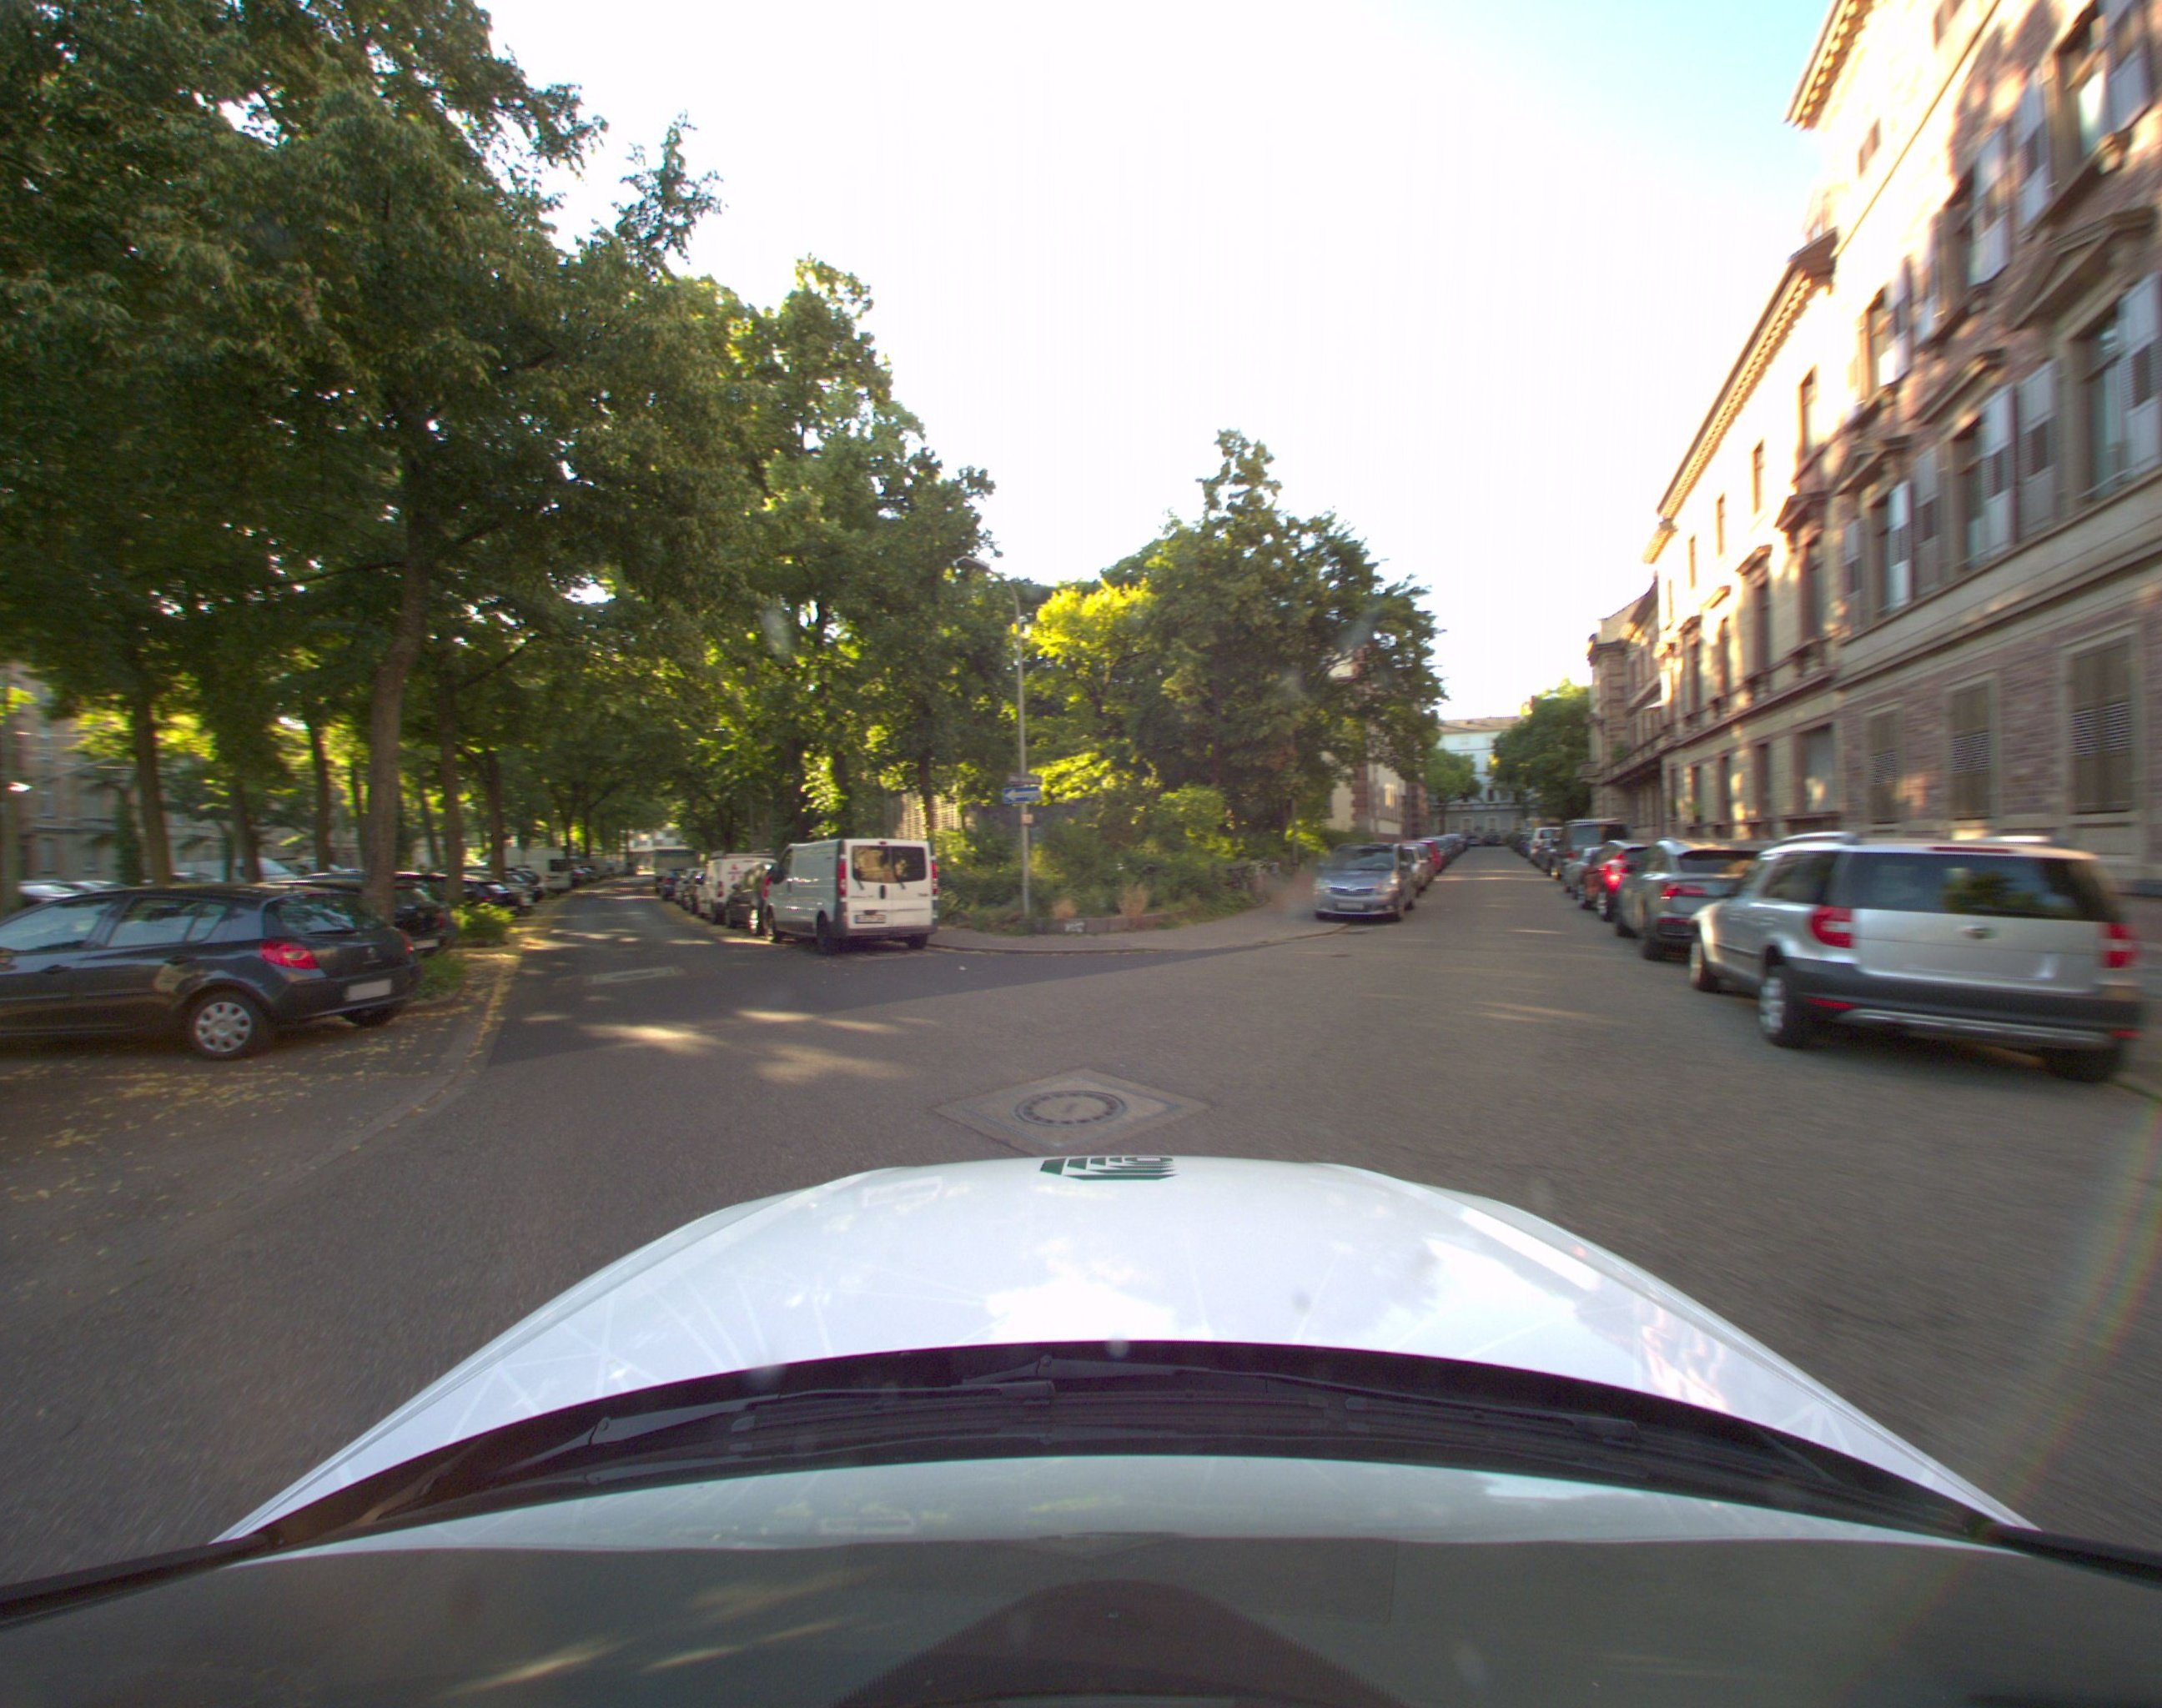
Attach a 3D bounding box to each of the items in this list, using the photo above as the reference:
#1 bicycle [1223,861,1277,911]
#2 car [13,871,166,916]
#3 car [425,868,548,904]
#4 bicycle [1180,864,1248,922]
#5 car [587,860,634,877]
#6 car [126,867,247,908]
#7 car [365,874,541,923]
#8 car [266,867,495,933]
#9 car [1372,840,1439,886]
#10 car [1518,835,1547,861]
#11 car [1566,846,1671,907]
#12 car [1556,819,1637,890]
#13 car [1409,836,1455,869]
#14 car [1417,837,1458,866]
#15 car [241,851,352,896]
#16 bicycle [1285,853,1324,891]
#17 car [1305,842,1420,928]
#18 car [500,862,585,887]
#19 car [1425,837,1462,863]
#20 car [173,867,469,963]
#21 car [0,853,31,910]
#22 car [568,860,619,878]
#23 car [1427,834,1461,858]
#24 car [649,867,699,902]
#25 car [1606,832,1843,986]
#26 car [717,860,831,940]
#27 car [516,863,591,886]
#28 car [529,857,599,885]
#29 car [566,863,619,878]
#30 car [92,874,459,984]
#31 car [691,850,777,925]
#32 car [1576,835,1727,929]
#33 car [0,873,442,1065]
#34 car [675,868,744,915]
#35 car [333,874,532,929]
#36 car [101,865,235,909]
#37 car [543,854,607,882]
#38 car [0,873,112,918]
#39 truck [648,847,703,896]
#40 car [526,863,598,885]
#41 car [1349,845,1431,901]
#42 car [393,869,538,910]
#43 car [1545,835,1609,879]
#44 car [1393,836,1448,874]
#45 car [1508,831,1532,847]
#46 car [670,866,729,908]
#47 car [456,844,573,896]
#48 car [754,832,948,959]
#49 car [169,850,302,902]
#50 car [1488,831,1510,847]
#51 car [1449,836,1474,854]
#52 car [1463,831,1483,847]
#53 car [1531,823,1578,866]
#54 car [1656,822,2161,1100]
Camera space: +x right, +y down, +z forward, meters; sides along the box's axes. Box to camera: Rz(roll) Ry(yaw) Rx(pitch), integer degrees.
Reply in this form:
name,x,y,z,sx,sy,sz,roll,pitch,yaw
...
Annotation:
name,x,y,z,sx,sy,sz,roll,pitch,yaw
bicycle,4.227,0.755,20.198,0.591,1.101,2.643,-1,0,27
car,-43.732,1.732,36.000,4.215,1.472,1.857,-5,2,-1
car,-25.436,1.379,34.988,3.817,1.482,1.732,1,-2,-10
bicycle,2.941,0.814,17.784,0.591,1.101,2.643,-1,0,29
car,-51.500,1.588,89.209,4.063,1.789,1.820,1,-2,1
car,-48.095,1.799,43.844,4.215,1.698,1.857,-5,2,-1
car,-19.075,1.341,24.909,3.817,1.391,1.732,1,-2,-10
car,-17.027,1.116,19.993,3.817,1.497,1.732,1,-2,-10
car,11.774,0.263,29.419,1.809,1.478,3.955,2,2,27
car,35.998,-0.514,65.003,1.781,2.016,3.979,2,2,27
car,13.706,0.501,20.989,1.781,1.345,3.979,2,2,27
car,16.529,-0.035,26.289,1.781,2.072,3.979,2,2,27
car,17.706,-0.114,41.015,1.809,1.500,3.955,2,2,27
car,20.066,-0.198,45.737,1.809,1.500,3.955,2,2,27
car,-54.669,1.342,56.835,5.237,2.571,2.273,-5,2,-1
bicycle,7.179,0.546,26.051,0.591,1.101,2.643,-1,0,29
car,6.471,0.577,18.403,1.809,1.614,4.317,2,2,27
car,-33.837,1.303,51.209,4.063,1.474,1.820,1,-2,1
car,22.358,-0.278,50.189,1.809,1.500,3.955,2,2,27
car,-13.513,1.064,14.674,3.602,1.562,1.604,1,0,-6
car,-54.994,1.426,39.610,2.566,2.887,5.434,-3,1,-26
car,-50.062,1.527,83.752,4.063,1.789,1.820,1,-2,1
car,24.690,-0.577,55.280,1.809,1.500,3.955,2,2,27
car,-18.011,1.308,35.930,1.582,1.385,3.563,-2,0,-33
car,8.961,0.586,11.795,1.809,1.723,4.571,2,2,27
car,-7.241,0.981,19.011,1.583,1.637,3.671,-2,0,-36
car,-37.045,1.452,57.233,4.063,1.474,1.820,1,-2,1
car,-39.240,1.309,61.831,4.063,2.040,1.820,1,-2,1
car,-48.715,1.665,81.227,4.063,1.474,1.820,1,-2,1
car,-11.745,1.080,12.099,3.602,1.447,1.604,1,0,-6
car,-9.870,0.881,23.020,1.582,1.903,3.862,-1,0,-32
car,11.311,0.442,16.447,1.781,1.613,3.978,2,2,25
car,-8.529,0.990,7.583,3.719,1.520,1.604,1,0,-6
car,-12.459,1.207,27.207,1.582,1.386,3.563,-2,0,-33
car,-17.609,1.289,22.294,3.817,1.391,1.732,1,-2,-10
car,-44.706,1.601,39.963,4.215,1.698,1.857,-5,2,-1
car,-41.960,1.175,67.551,4.063,2.210,1.820,1,-2,1
car,-42.797,1.747,33.143,4.215,1.472,1.857,-5,2,-1
truck,-21.436,0.874,42.953,2.380,2.352,4.343,-1,0,-29
car,-37.999,1.476,59.722,4.063,1.474,1.820,1,-2,1
car,9.310,0.489,24.388,1.809,1.446,3.955,2,2,27
car,-22.602,1.306,30.029,3.817,1.421,1.732,1,-2,-10
car,18.935,0.061,31.240,1.781,1.523,3.979,2,2,27
car,14.705,0.003,35.152,1.809,1.500,3.955,2,2,27
car,52.336,-1.772,97.156,1.976,1.684,4.021,0,-1,21
car,-14.750,1.235,31.428,1.582,1.467,3.563,-2,0,-33
car,-28.234,0.808,40.684,4.469,2.476,1.820,1,-2,1
car,-4.494,0.675,15.386,1.959,2.003,4.607,-2,0,-37
car,-50.874,1.267,49.102,5.237,2.571,2.273,-5,2,-1
car,50.231,-1.781,97.872,1.976,1.684,4.021,0,-1,21
car,34.314,-0.807,73.406,1.809,1.500,3.955,2,2,27
car,47.408,-1.798,98.544,1.976,1.684,4.021,0,-1,21
car,24.092,-0.496,41.539,1.781,2.072,3.979,2,2,27
car,6.689,0.618,7.250,1.898,1.656,4.212,2,1,26
